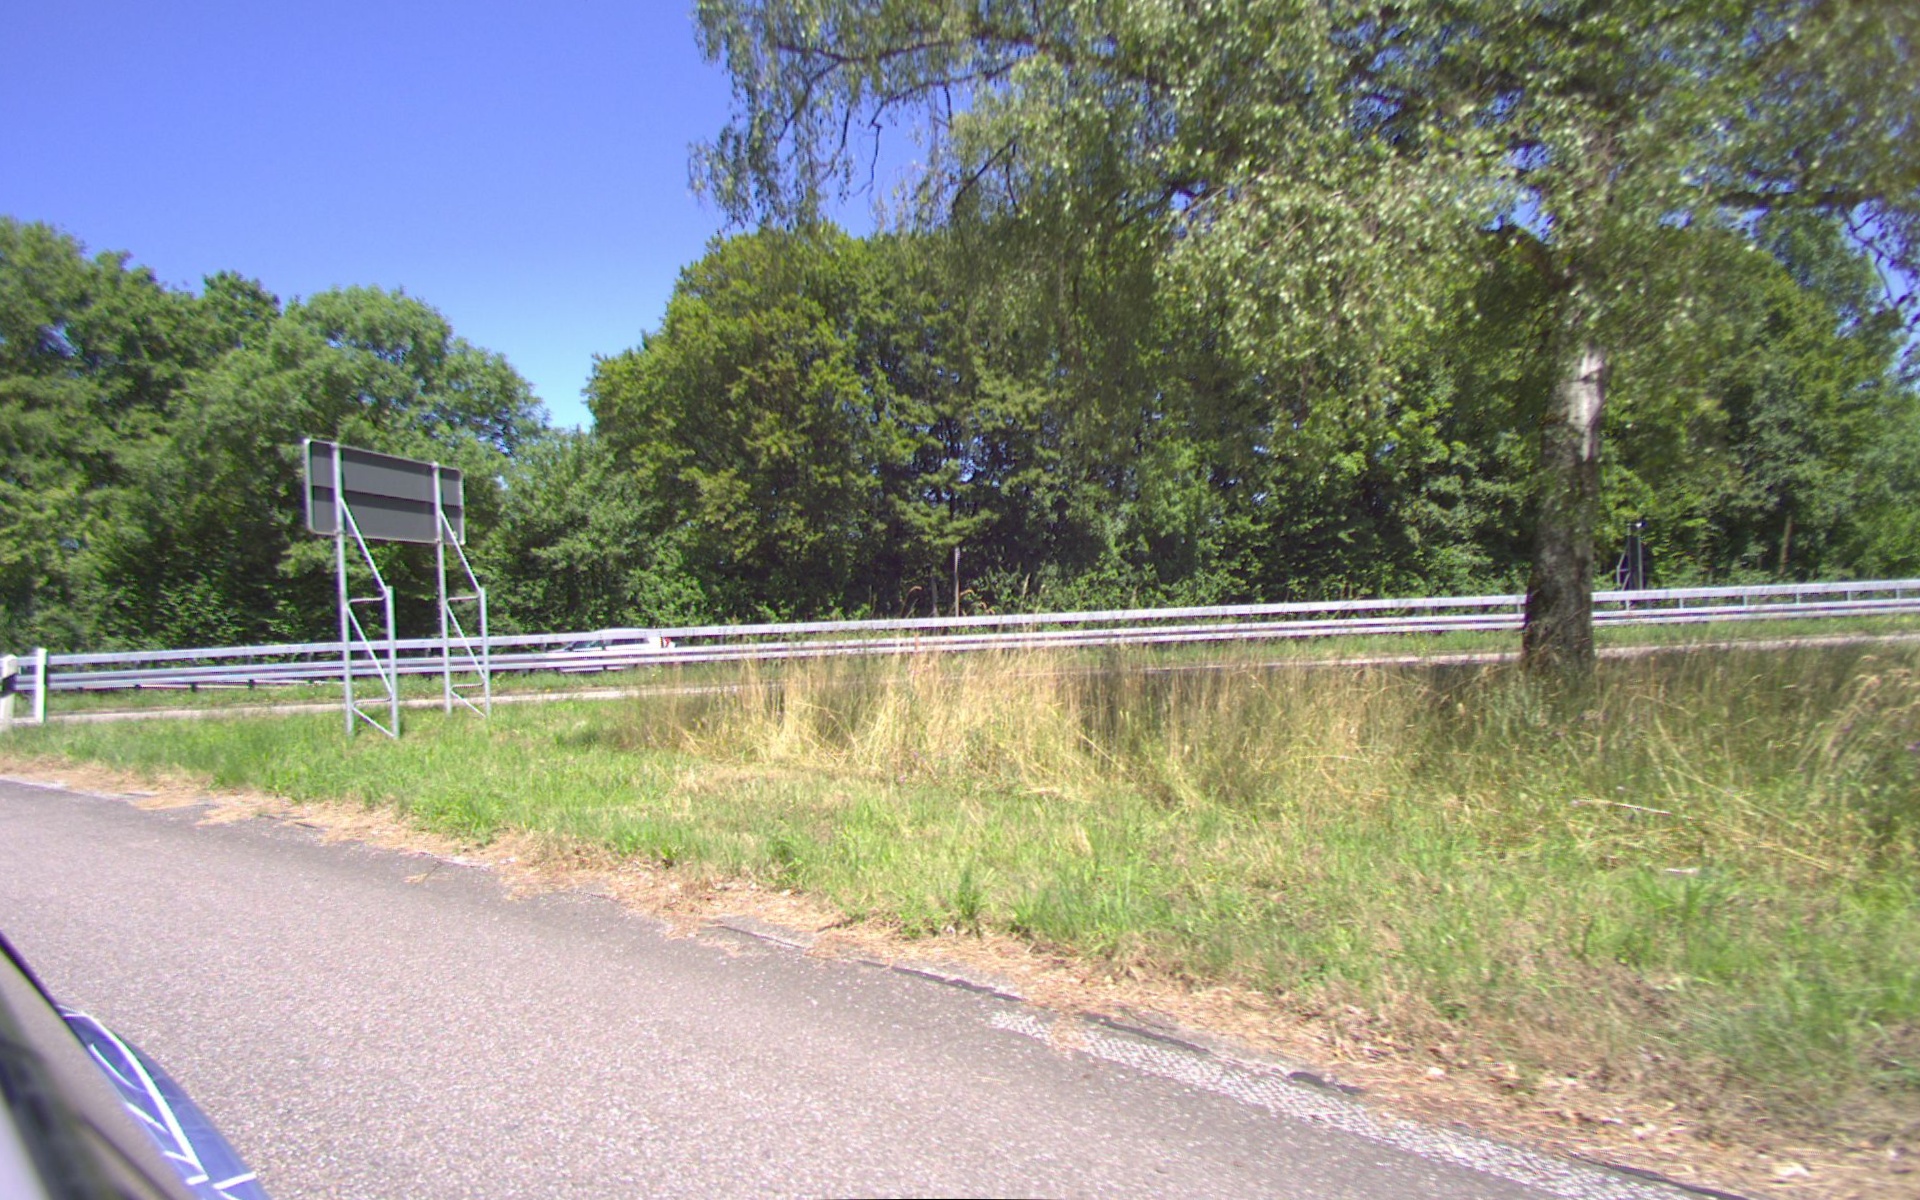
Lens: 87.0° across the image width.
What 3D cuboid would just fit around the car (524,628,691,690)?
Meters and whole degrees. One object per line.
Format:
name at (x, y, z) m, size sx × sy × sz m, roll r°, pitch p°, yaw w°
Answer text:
car at (-9.076, 1.530, 26.200) m, size 3.795 × 1.392 × 1.444 m, roll -3°, pitch -3°, yaw 0°
